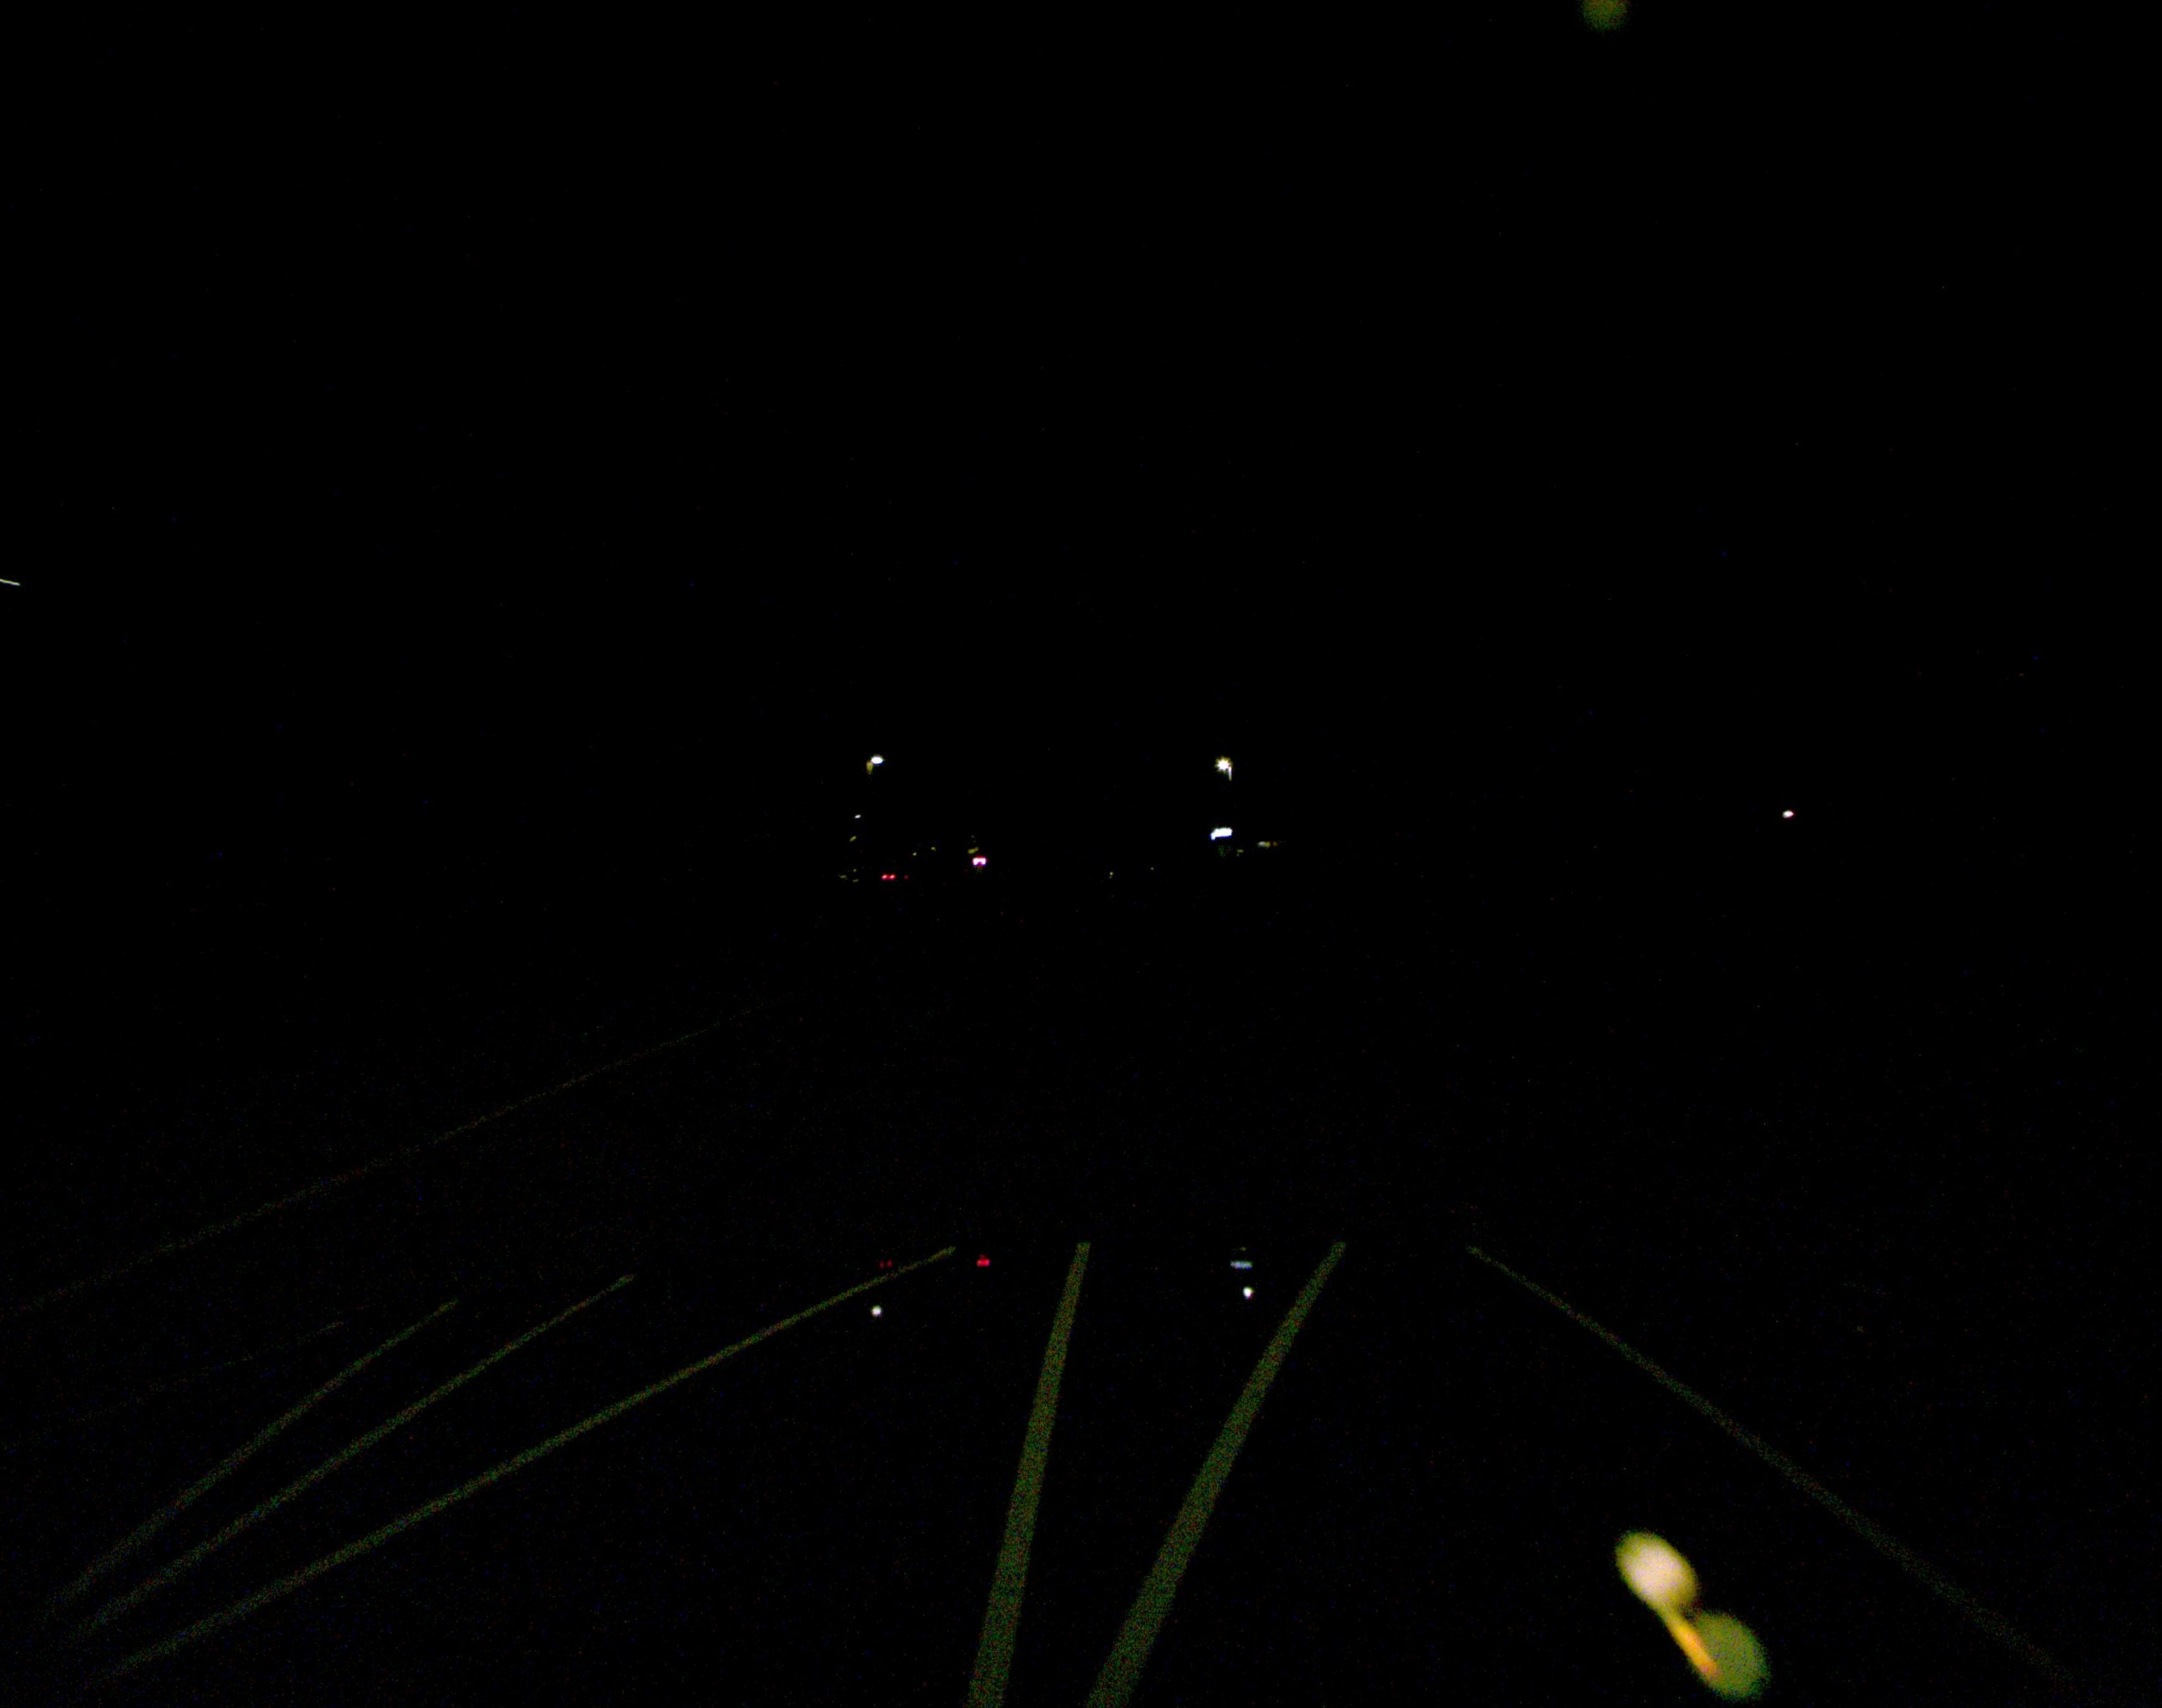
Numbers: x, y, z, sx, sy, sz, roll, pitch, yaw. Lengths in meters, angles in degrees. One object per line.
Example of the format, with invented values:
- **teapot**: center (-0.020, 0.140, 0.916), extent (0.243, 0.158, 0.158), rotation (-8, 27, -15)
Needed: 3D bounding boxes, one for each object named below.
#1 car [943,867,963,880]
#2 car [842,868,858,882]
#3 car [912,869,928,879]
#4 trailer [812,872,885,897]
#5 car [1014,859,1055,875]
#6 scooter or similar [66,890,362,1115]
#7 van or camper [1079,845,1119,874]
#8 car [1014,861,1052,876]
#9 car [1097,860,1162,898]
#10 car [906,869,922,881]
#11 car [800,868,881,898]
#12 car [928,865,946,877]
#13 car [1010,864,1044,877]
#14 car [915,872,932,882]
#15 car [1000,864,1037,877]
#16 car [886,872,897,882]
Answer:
- **car**: center (-15.550, 2.323, 91.899), extent (1.756, 1.460, 4.003), rotation (-1, -1, -18)
- **car**: center (-26.736, 2.431, 87.853), extent (1.646, 1.550, 3.673), rotation (0, -1, -18)
- **car**: center (-28.034, 3.546, 132.220), extent (2.124, 1.660, 4.163), rotation (-1, -1, -19)
- **trailer**: center (-11.935, 1.560, 39.083), extent (3.445, 0.996, 1.951), rotation (-4, 0, -17)
- **car**: center (-5.166, 1.474, 84.529), extent (4.006, 1.692, 1.944), rotation (2, -2, -24)
- **scooter or similar**: center (-6.056, 0.934, 5.461), extent (0.614, 1.273, 1.687), rotation (-1, 0, -19)
- **van or camper**: center (1.732, 0.621, 76.938), extent (2.083, 2.730, 5.921), rotation (-1, -1, -18)
- **car**: center (-5.646, 1.706, 89.484), extent (4.132, 1.651, 1.998), rotation (1, -2, -16)
- **car**: center (2.150, 1.121, 34.884), extent (1.679, 1.581, 3.982), rotation (-2, -1, -16)
- **car**: center (-30.443, 3.866, 138.467), extent (2.124, 1.935, 4.881), rotation (-3, -1, -19)
- **car**: center (-11.045, 1.293, 34.938), extent (3.405, 1.224, 1.722), rotation (-1, -1, -19)
- **car**: center (-20.347, 2.446, 107.049), extent (1.936, 1.627, 4.465), rotation (-2, -1, -18)
- **car**: center (-6.839, 2.063, 96.250), extent (4.002, 1.608, 1.998), rotation (-1, -1, -14)
- **car**: center (-26.361, 3.854, 127.182), extent (2.124, 1.539, 4.470), rotation (-4, 1, -19)
- **car**: center (-8.111, 2.173, 98.855), extent (4.331, 1.552, 2.026), rotation (0, -1, -24)
- **car**: center (-38.108, 4.632, 152.721), extent (2.011, 1.737, 4.554), rotation (-1, -2, -16)
